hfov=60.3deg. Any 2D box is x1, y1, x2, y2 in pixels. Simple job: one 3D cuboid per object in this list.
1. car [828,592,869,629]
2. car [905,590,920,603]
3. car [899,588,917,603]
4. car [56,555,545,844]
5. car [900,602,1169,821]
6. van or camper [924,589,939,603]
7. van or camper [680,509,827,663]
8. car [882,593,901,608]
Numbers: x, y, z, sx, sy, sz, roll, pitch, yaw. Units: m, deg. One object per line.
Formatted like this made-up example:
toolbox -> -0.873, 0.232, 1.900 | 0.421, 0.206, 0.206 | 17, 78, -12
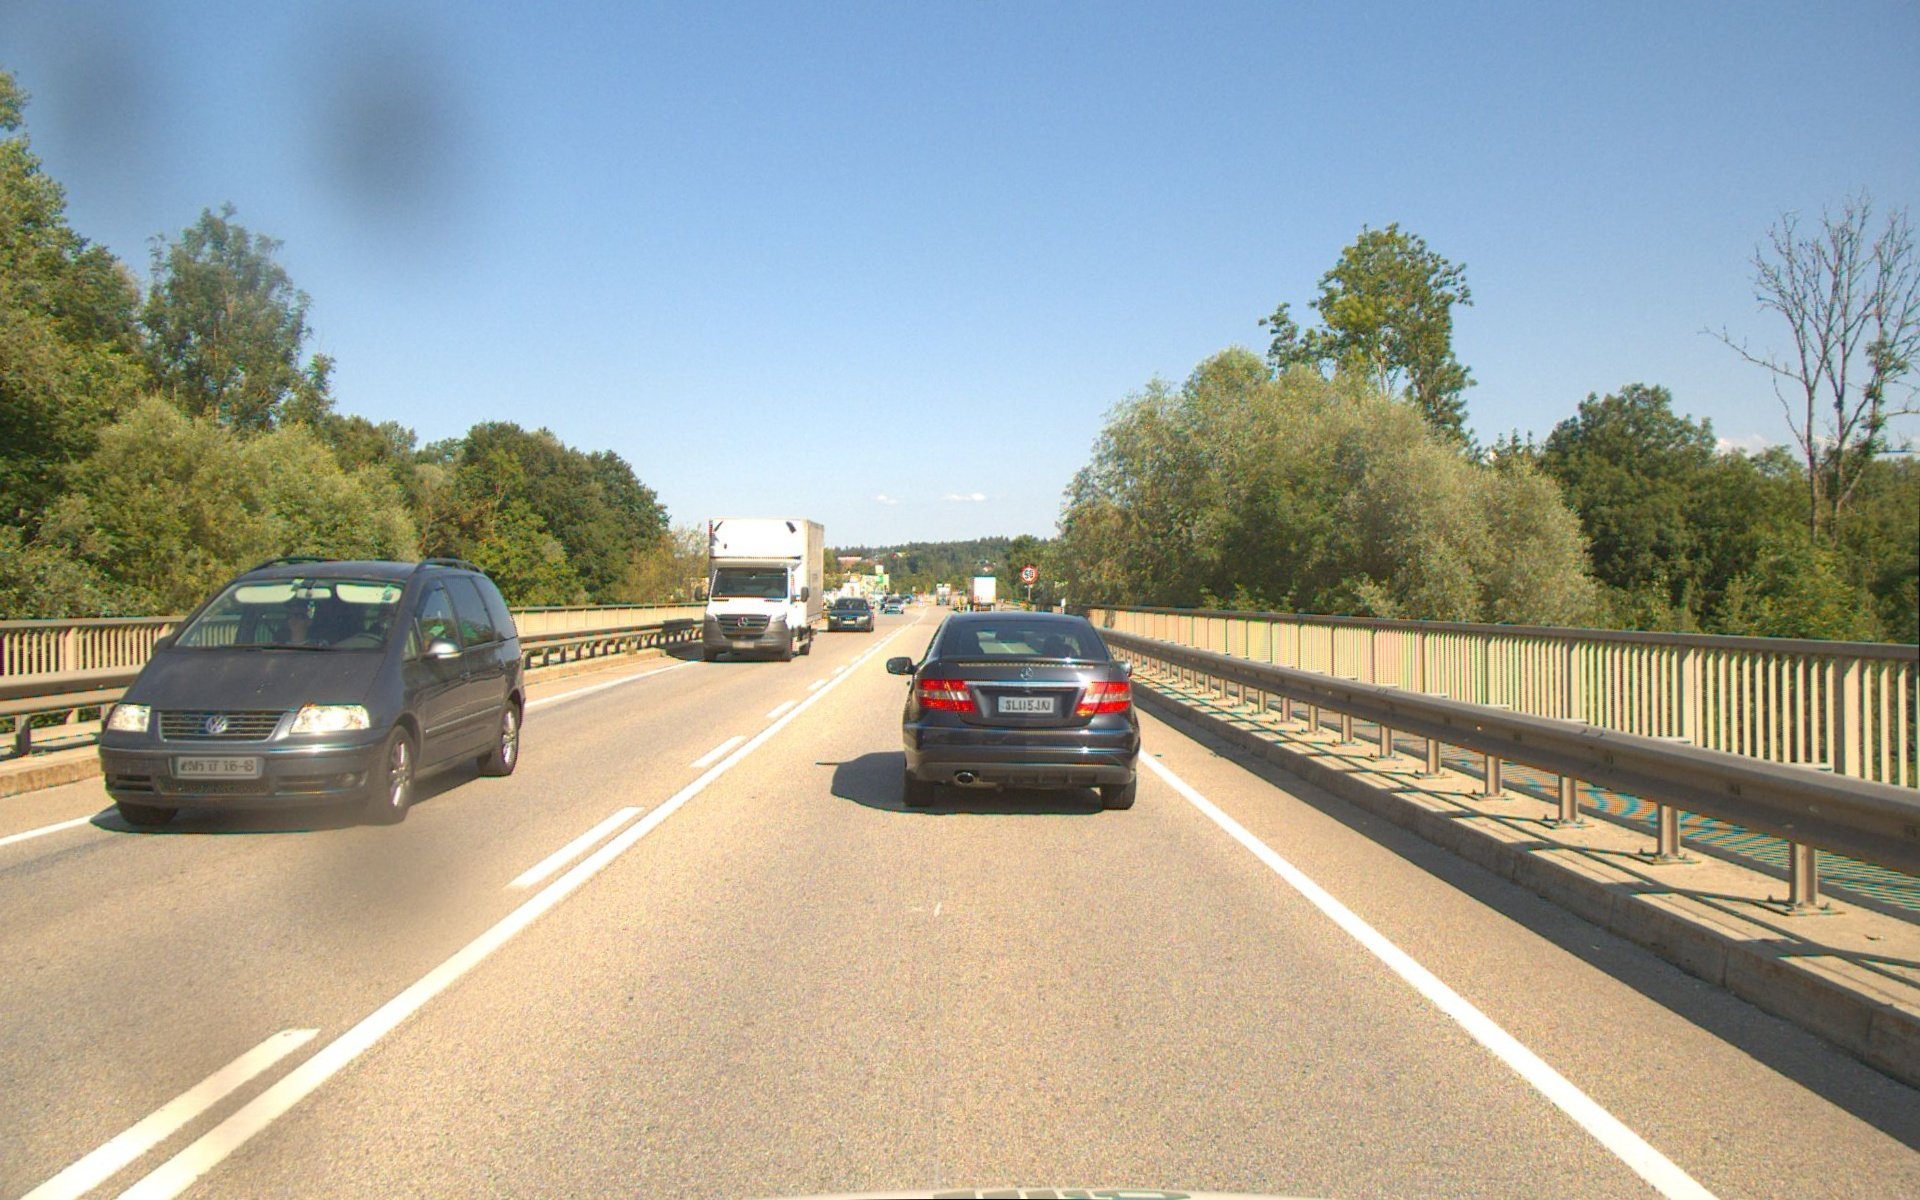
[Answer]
car -> -4.624, 0.407, 68.772 | 1.626, 1.461, 4.185 | 0, 0, -3
car -> -6.286, -0.462, 221.190 | 1.767, 1.634, 3.916 | 2, 1, 1
car -> -7.399, -0.602, 234.517 | 1.951, 2.049, 4.003 | 0, 0, 6
car -> -4.413, 0.571, 11.932 | 1.804, 1.670, 4.575 | 1, 0, -2
car -> 0.513, 0.736, 12.871 | 1.756, 1.400, 4.000 | 0, 0, 1
van or camper -> -4.289, -0.628, 247.956 | 1.952, 2.049, 4.001 | 0, 0, 2
van or camper -> -4.798, -0.323, 39.808 | 2.581, 3.313, 7.749 | 1, 0, 0
car -> -6.384, 0.052, 154.508 | 1.666, 1.380, 3.736 | 0, 0, 0
